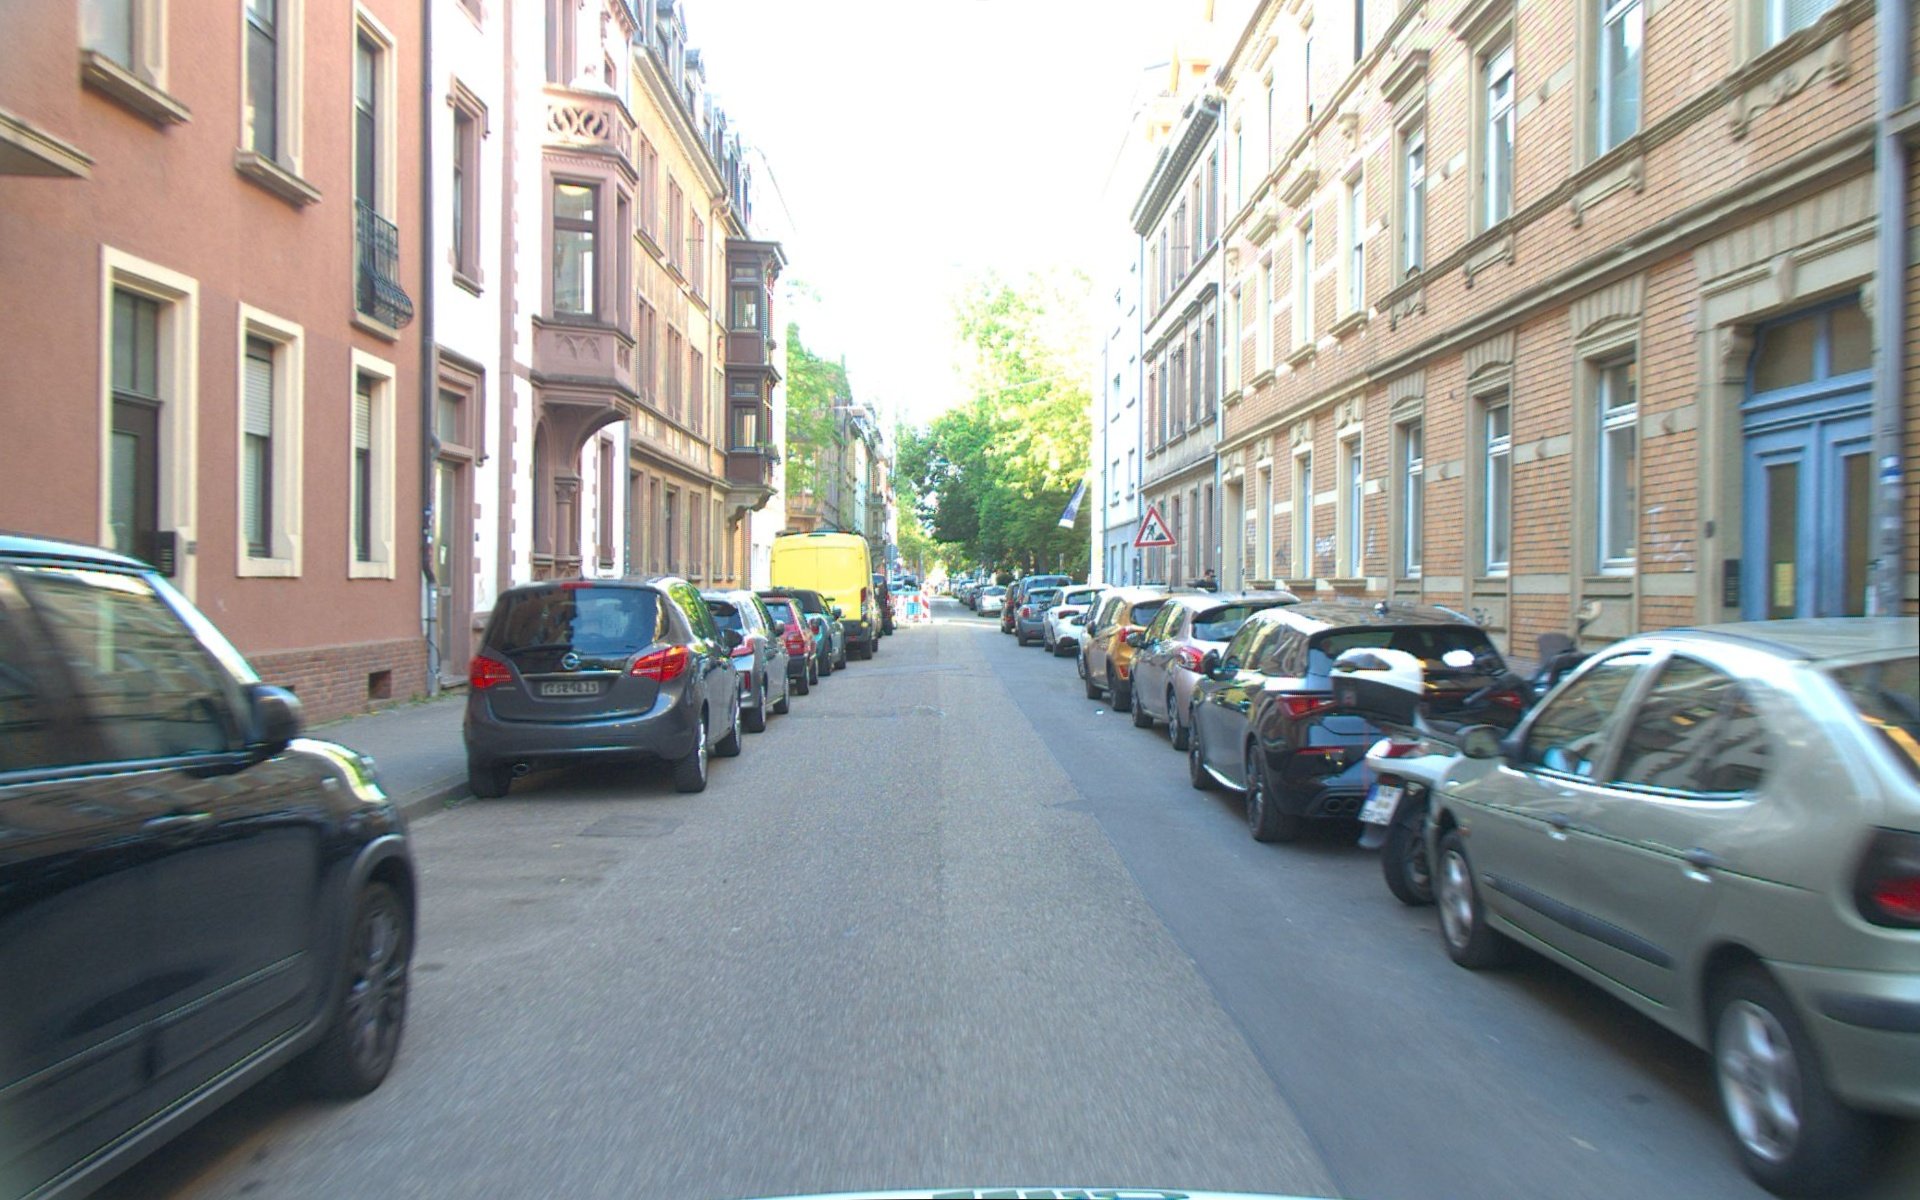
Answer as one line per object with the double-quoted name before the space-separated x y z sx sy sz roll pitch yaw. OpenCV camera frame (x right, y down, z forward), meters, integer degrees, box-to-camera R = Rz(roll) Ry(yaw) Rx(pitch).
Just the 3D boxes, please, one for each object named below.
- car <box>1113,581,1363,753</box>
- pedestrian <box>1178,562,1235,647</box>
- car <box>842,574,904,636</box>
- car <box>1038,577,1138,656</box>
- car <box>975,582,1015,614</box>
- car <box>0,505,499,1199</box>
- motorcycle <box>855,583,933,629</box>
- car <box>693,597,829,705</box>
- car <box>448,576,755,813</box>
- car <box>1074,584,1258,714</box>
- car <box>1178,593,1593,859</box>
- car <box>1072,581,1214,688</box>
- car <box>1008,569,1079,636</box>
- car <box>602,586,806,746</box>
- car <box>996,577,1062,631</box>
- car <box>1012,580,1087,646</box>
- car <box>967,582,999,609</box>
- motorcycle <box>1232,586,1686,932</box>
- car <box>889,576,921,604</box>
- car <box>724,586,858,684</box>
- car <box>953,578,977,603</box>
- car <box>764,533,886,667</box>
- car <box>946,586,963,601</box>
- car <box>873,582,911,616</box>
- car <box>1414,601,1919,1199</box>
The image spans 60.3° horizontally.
"car" 2.775 0.595 17.379 1.691 1.442 4.092 -5 1 -2
"pedestrian" 4.905 0.094 32.898 0.650 1.659 0.867 -2 0 -42
"car" -2.666 0.121 50.335 1.782 1.797 4.332 0 0 -4
"car" 2.851 0.330 37.737 1.719 1.544 4.442 -4 1 -2
"car" 1.719 -0.126 83.146 1.689 1.549 3.997 -1 1 -3
"car" -2.484 0.655 3.706 1.725 1.645 4.189 0 1 0
"motorcycle" -2.210 0.200 55.577 2.483 1.508 0.895 0 0 -28
"car" -2.838 0.684 24.266 1.585 1.349 3.611 -3 1 -2
"car" -2.731 0.626 13.487 1.745 1.634 4.068 0 1 -2
"car" 2.648 0.579 22.122 1.719 1.471 4.067 -4 1 -2
"car" 2.663 0.697 11.404 1.741 1.421 4.317 0 1 0
"car" 2.917 0.504 27.100 1.686 1.506 4.082 -4 1 -1
"car" 2.431 0.032 49.055 1.718 1.817 4.723 -3 1 -1
"car" -2.756 0.647 18.605 1.660 1.500 3.919 -3 1 -1
"car" 2.206 0.112 53.722 1.862 1.668 4.390 0 0 -1
"car" 2.314 0.306 43.617 1.718 1.478 4.288 -4 1 1
"car" 1.435 -0.271 104.425 1.856 1.653 3.999 0 0 -2
"motorcycle" 2.561 0.751 8.441 2.192 1.563 0.883 2 0 -27
"car" -4.174 -0.751 127.208 2.262 2.151 5.170 0 0 0
"car" -2.863 0.557 28.856 1.683 1.437 3.899 -5 0 2
"car" 0.480 -0.846 154.842 2.117 2.295 4.524 0 0 -2
"car" -2.789 -0.029 35.528 2.131 2.551 5.877 -3 1 -1
"car" -0.627 -0.768 192.567 1.953 1.758 3.999 -1 1 -1
"car" -3.662 -0.070 89.236 1.843 1.737 4.000 -2 0 0
"car" 2.909 0.756 5.575 1.657 1.430 3.992 0 1 0
